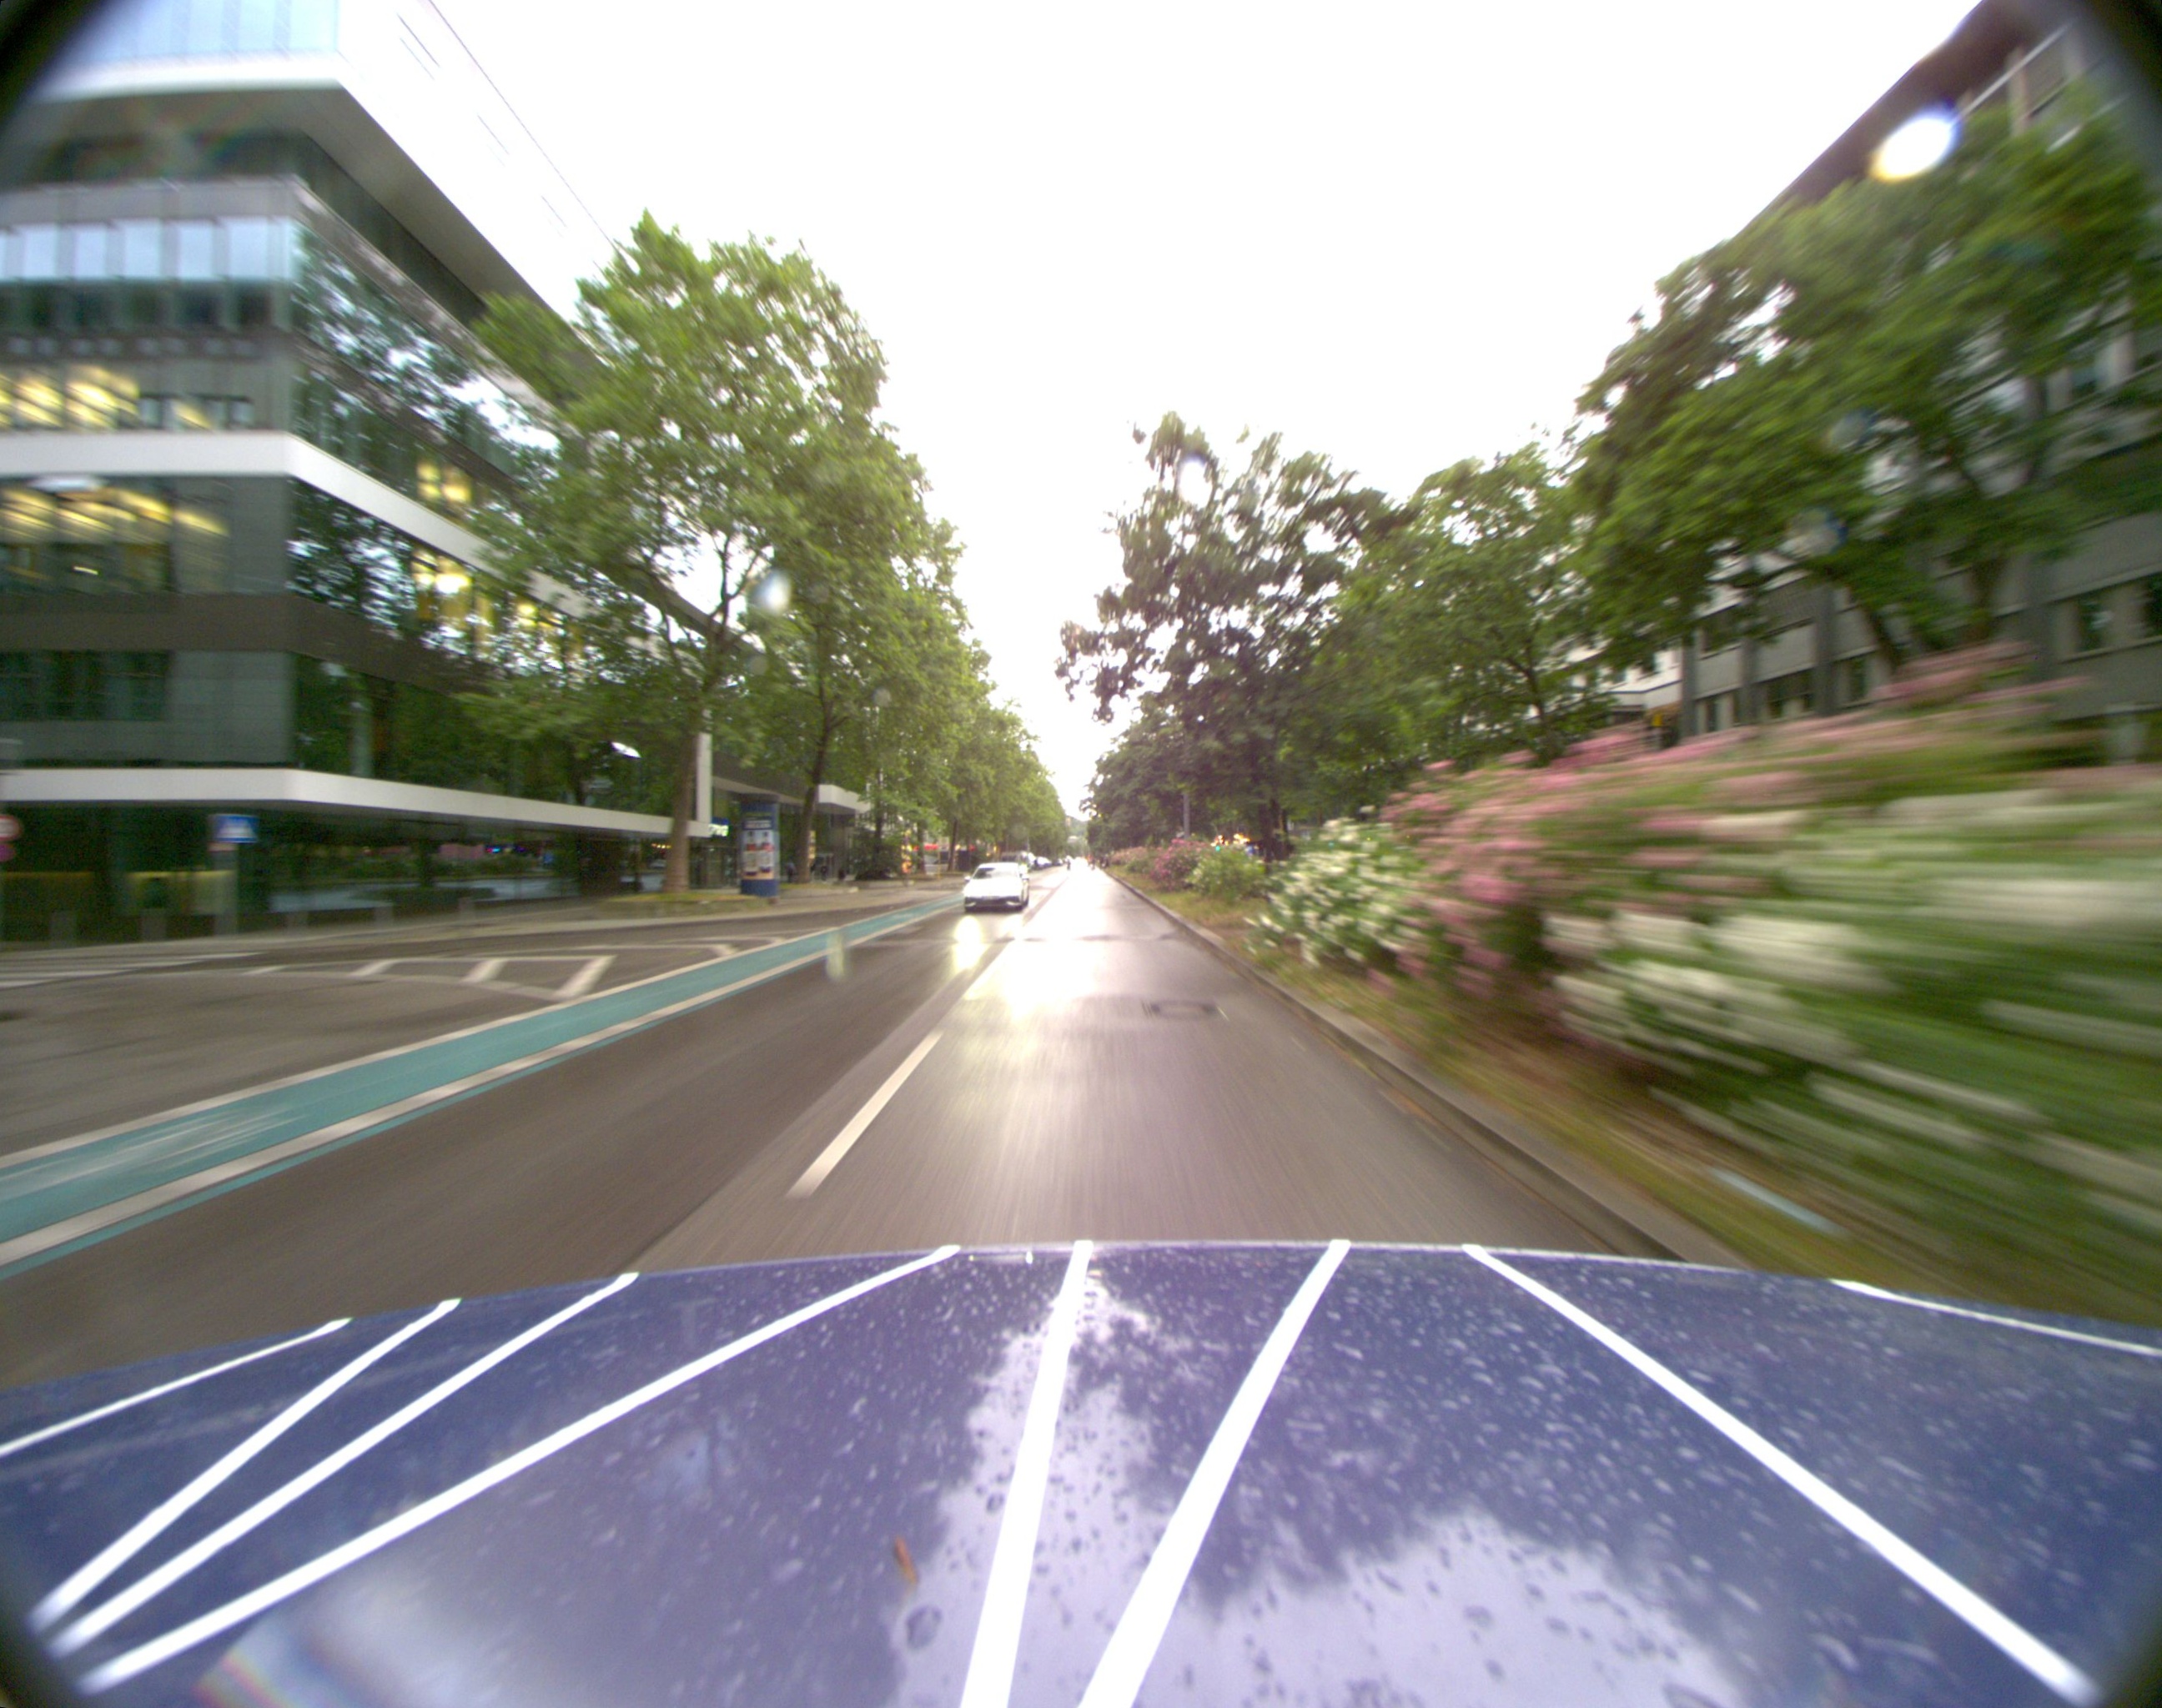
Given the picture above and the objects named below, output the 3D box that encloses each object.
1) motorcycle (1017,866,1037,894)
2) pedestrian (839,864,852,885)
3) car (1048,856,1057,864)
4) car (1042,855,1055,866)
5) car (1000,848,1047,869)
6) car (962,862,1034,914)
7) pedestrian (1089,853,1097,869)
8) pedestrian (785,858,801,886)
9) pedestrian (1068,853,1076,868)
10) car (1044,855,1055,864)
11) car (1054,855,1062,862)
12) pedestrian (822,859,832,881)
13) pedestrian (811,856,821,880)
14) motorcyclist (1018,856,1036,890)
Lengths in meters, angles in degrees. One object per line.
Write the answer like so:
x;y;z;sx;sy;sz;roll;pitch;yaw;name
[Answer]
-2.550;1.210;36.263;0.744;1.194;2.235;-2;1;1;motorcycle
-16.411;1.420;52.907;0.588;1.496;1.005;0;0;1;pedestrian
-5.328;1.097;143.453;1.598;1.516;3.425;-1;0;0;car
-4.769;0.990;112.010;1.598;1.516;3.425;-1;0;1;car
-7.744;0.635;102.288;6.267;2.665;2.326;-1;1;36;car
-2.579;1.026;24.452;1.795;1.463;3.794;-2;0;1;car
1.424;0.787;90.234;0.891;1.839;0.721;-2;1;8;pedestrian
-19.036;1.169;50.191;0.790;1.783;1.086;2;0;-11;pedestrian
-1.132;0.795;96.030;0.892;1.839;0.787;-2;1;-11;pedestrian
-5.228;0.913;126.137;1.598;1.516;3.425;-1;0;0;car
-5.162;1.061;167.857;1.598;1.516;3.425;-1;0;0;car
-19.763;1.244;59.159;0.527;1.616;0.719;1;2;1;pedestrian
-20.644;1.103;59.107;0.524;1.848;0.704;1;2;1;pedestrian
-2.553;0.890;36.139;0.744;1.575;1.059;-2;1;1;motorcyclist
